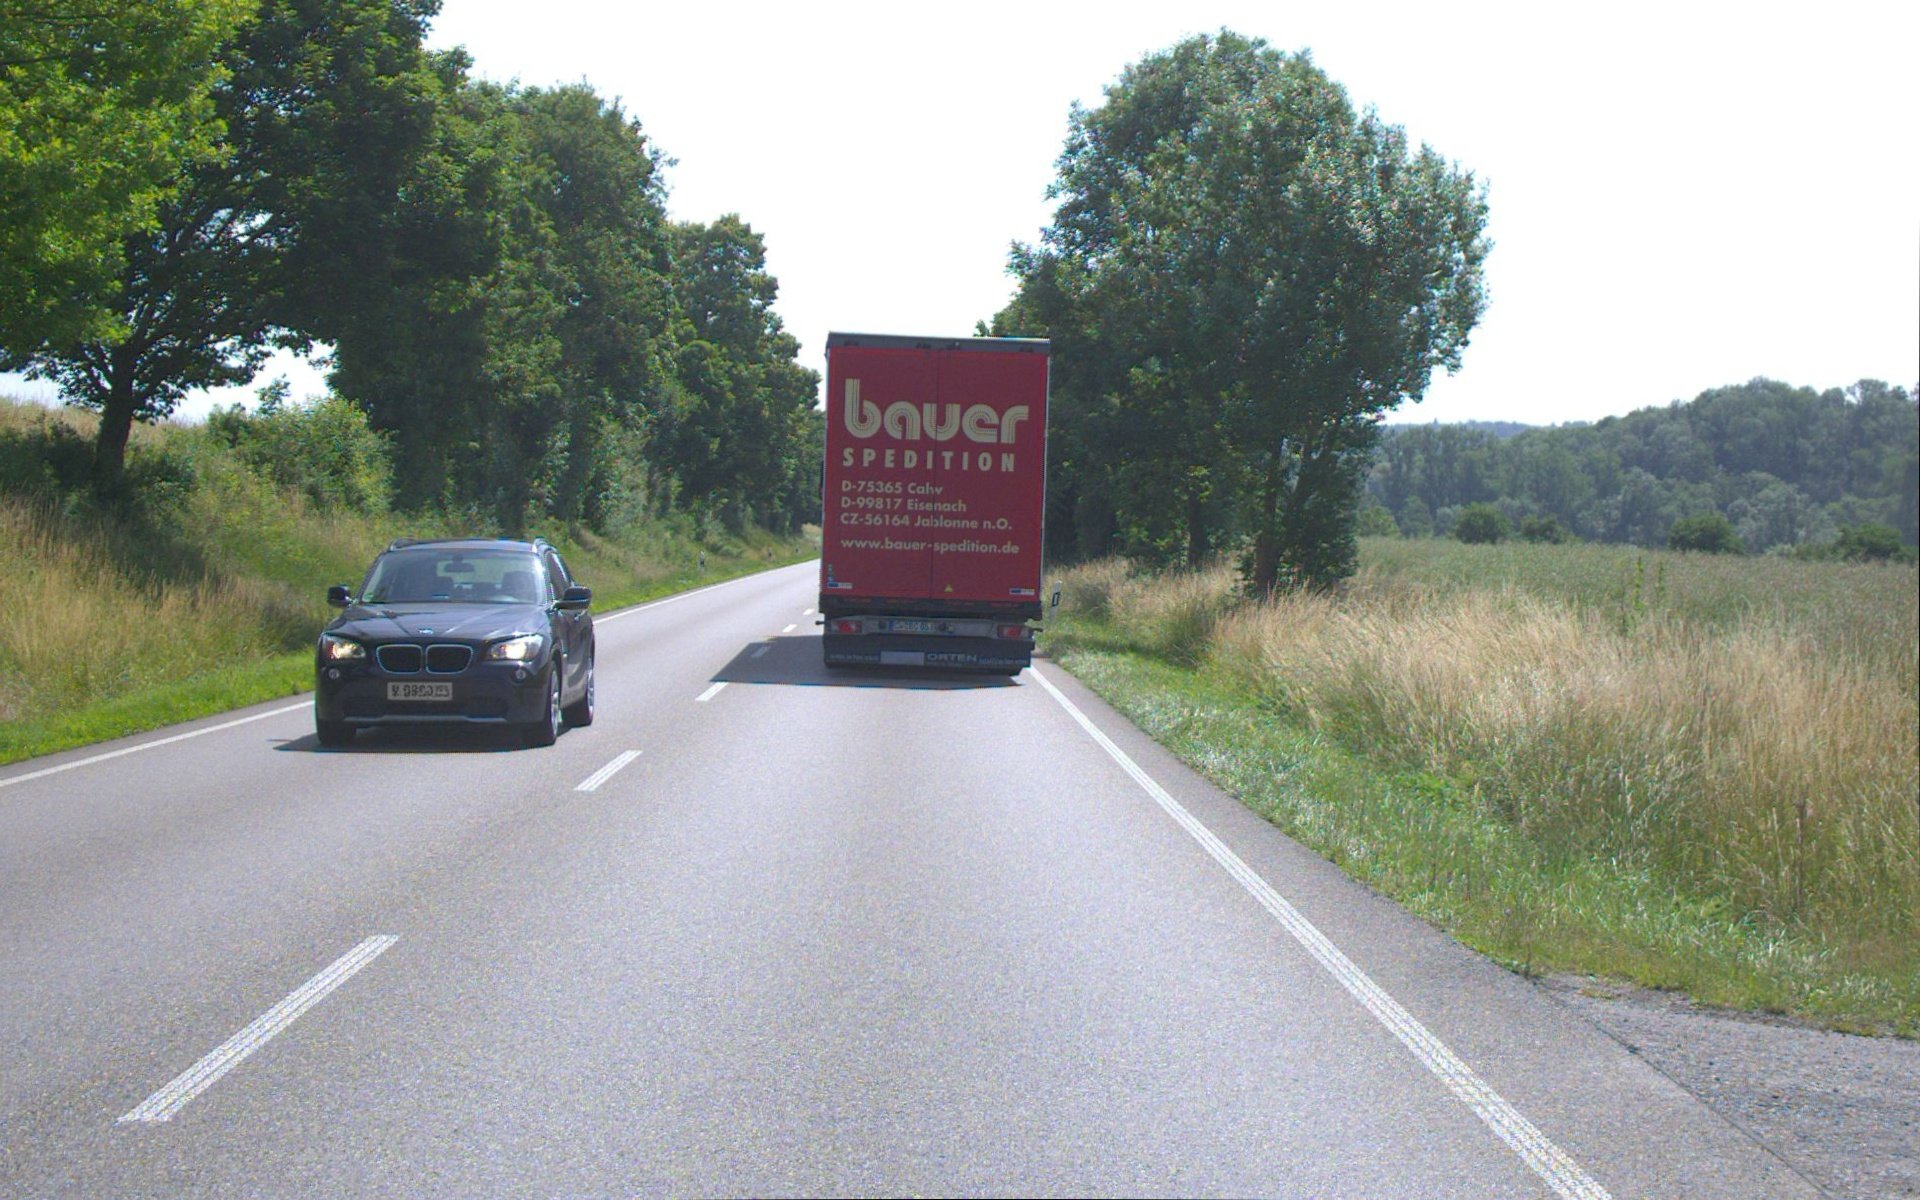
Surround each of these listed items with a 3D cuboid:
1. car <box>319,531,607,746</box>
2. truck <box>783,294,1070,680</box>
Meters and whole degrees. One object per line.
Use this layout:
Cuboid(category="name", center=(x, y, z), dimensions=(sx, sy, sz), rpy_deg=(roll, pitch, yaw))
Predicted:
Cuboid(category="car", center=(-3.779, 0.252, 26.779), dimensions=(1.656, 1.529, 4.358), rpy_deg=(0, 1, -1))
Cuboid(category="truck", center=(-0.483, -1.321, 42.890), dimensions=(3.094, 4.248, 8.315), rpy_deg=(2, 1, -1))
